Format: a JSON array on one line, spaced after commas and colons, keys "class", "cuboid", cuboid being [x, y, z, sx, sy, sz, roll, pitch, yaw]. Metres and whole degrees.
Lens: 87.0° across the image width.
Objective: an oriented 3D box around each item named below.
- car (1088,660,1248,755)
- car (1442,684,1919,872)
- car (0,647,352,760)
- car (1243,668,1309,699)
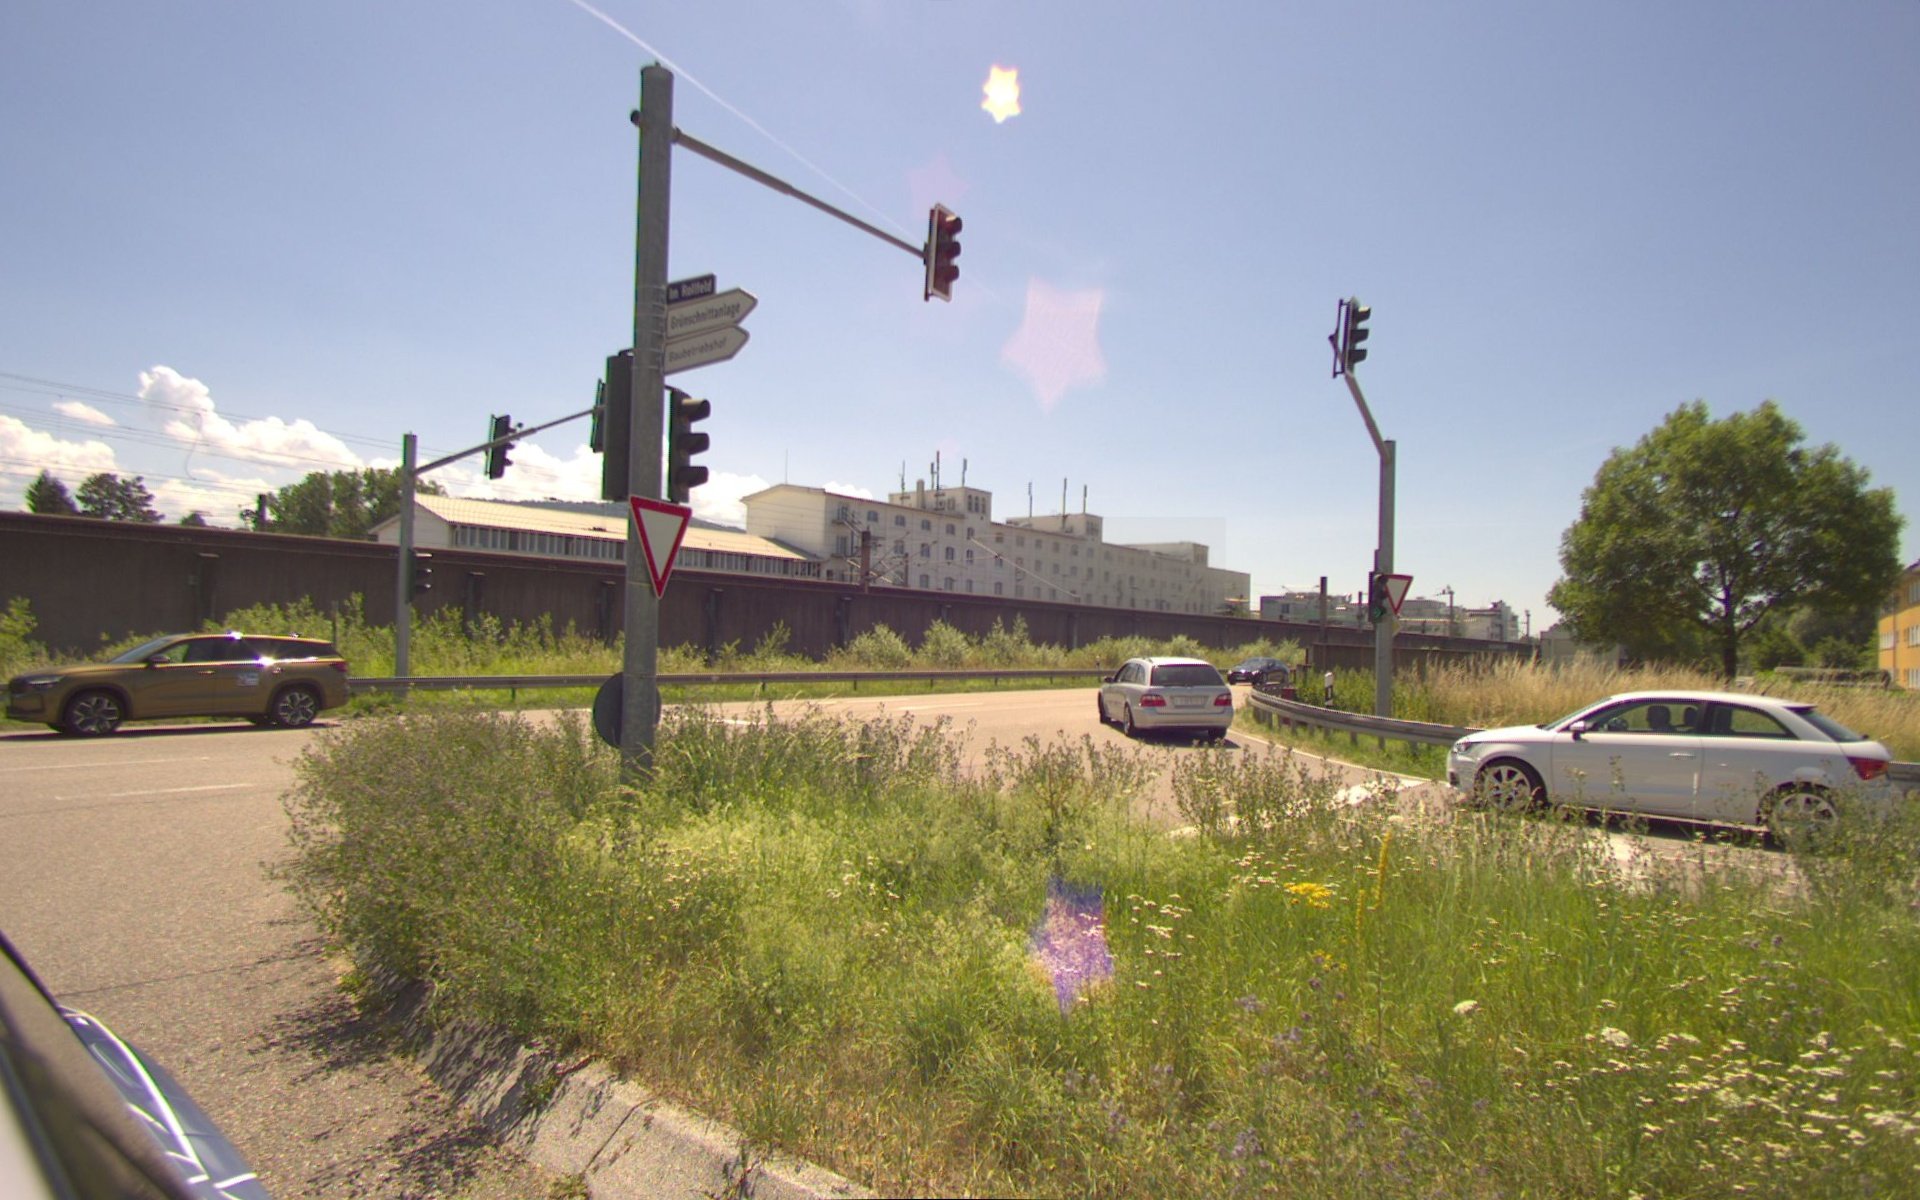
[{"class": "car", "cuboid": [3.880, 1.987, 19.738, 1.769, 1.517, 4.660, 3, -3, -4]}, {"class": "car", "cuboid": [7.295, 1.656, 10.447, 3.859, 1.420, 1.708, -2, -4, 43]}, {"class": "car", "cuboid": [-13.123, 1.696, 17.114, 1.703, 1.640, 4.564, -5, -7, 37]}, {"class": "car", "cuboid": [16.453, 4.298, 52.538, 1.786, 1.465, 4.459, -2, -4, 38]}]
